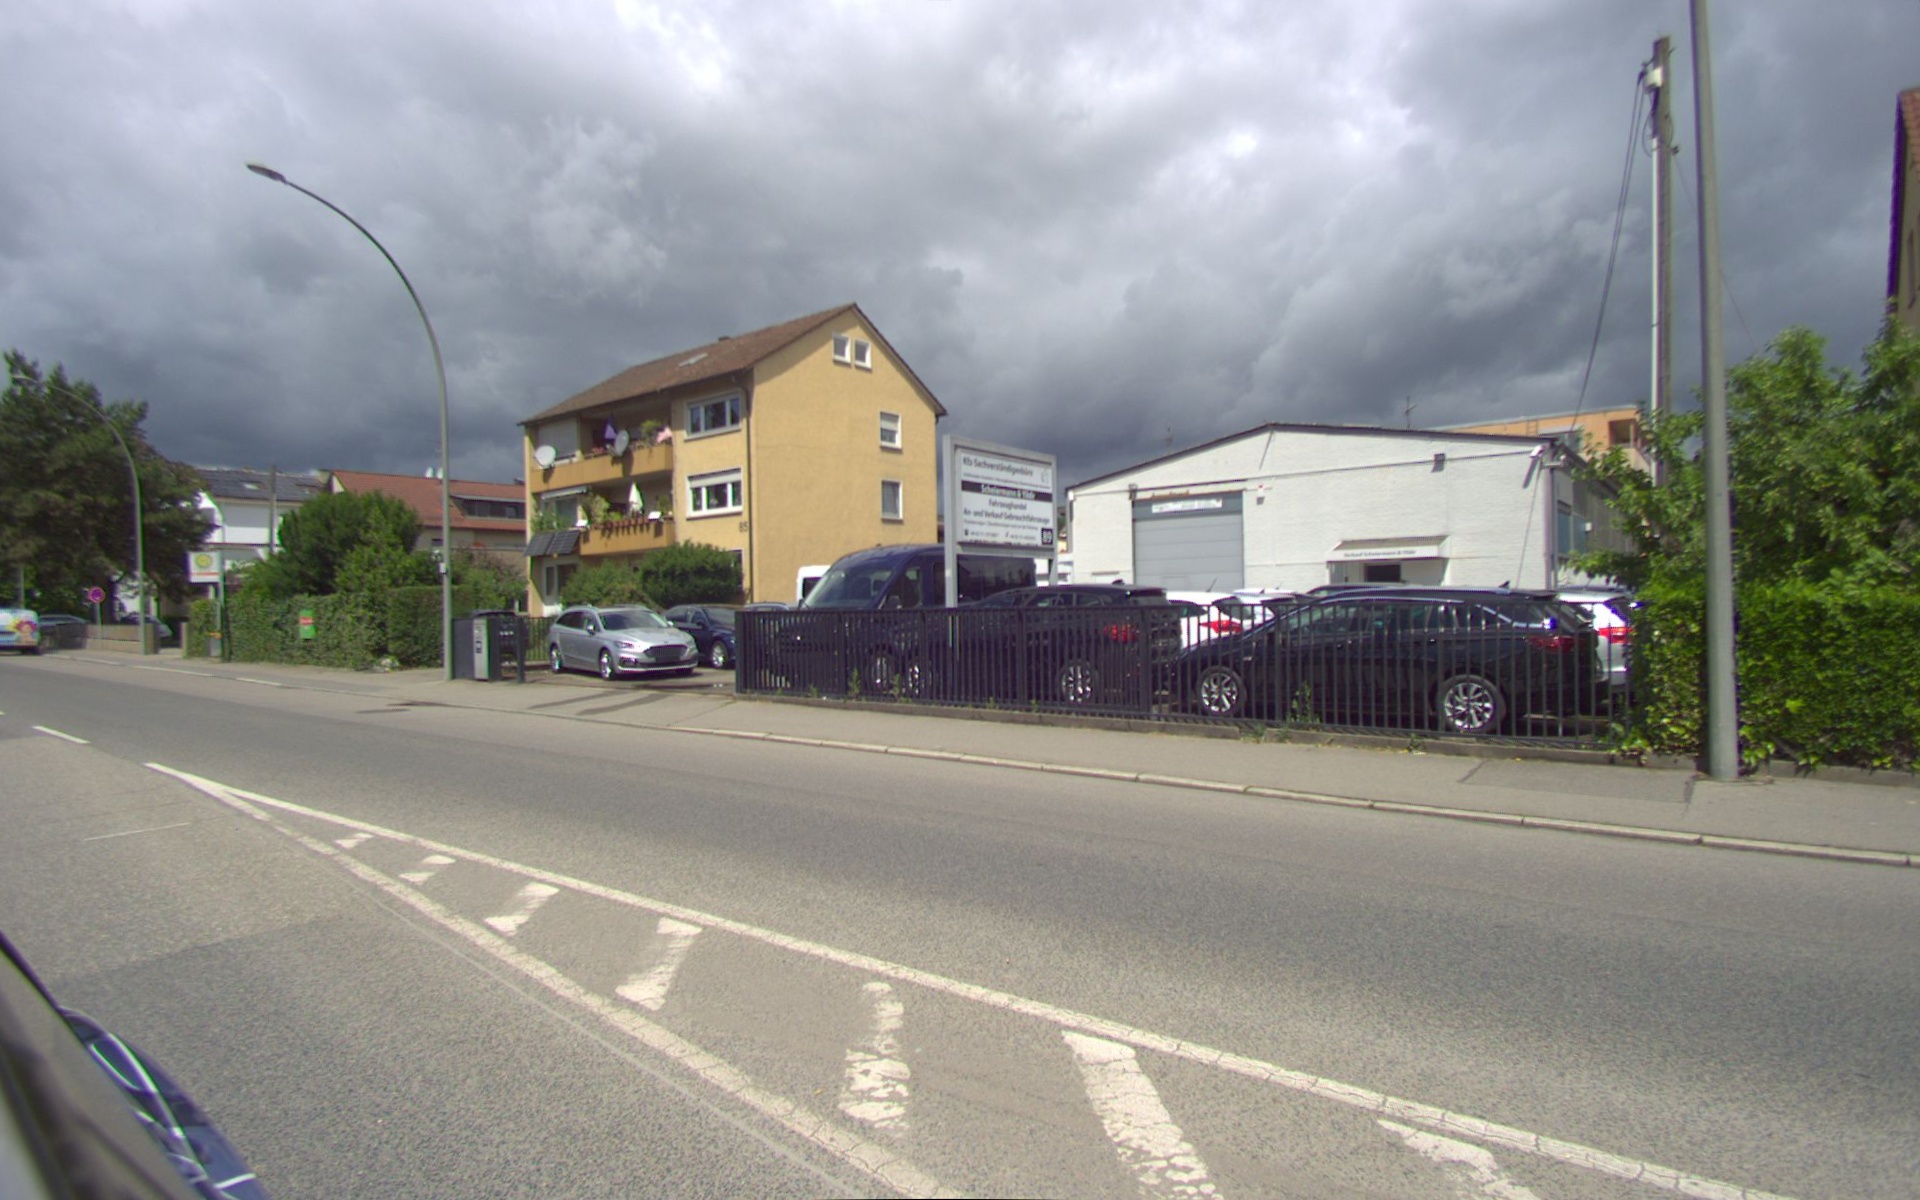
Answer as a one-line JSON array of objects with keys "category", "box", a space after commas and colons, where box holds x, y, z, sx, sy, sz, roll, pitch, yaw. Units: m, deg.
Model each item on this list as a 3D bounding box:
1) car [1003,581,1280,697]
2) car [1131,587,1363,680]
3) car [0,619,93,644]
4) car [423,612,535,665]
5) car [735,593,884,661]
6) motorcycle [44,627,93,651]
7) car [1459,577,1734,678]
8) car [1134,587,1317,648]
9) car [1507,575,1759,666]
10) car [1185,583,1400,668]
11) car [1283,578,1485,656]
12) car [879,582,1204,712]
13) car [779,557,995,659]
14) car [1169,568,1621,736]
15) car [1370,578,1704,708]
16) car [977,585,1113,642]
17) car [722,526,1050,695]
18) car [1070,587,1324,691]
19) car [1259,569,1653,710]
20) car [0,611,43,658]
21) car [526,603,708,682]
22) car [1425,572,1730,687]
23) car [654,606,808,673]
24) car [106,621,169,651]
[{"category": "car", "box": [2.839, 0.583, 16.133, 3.990, 1.630, 1.761, -1, -1, 35]}, {"category": "car", "box": [5.522, 0.618, 19.660, 3.990, 1.630, 1.761, -1, -1, 35]}, {"category": "car", "box": [-60.759, 2.063, 66.878, 1.970, 1.563, 4.960, -1, 0, 38]}, {"category": "car", "box": [-14.397, 1.106, 30.178, 1.823, 1.437, 4.335, 0, -1, -43]}, {"category": "car", "box": [-3.937, 0.671, 25.914, 1.821, 1.589, 4.338, 0, -1, -39]}, {"category": "motorcycle", "box": [-46.809, 2.030, 53.141, 1.845, 1.174, 0.827, 0, -1, -34]}, {"category": "car", "box": [11.301, 0.474, 18.180, 3.990, 1.630, 1.761, -1, -1, 35]}, {"category": "car", "box": [8.052, 0.549, 30.914, 4.998, 1.726, 2.030, -1, -1, 37]}, {"category": "car", "box": [13.215, 0.401, 20.090, 3.990, 1.630, 1.761, -1, -1, 35]}, {"category": "car", "box": [6.996, 0.530, 21.435, 3.990, 1.630, 1.761, -1, -1, 35]}, {"category": "car", "box": [9.661, 0.392, 23.160, 3.990, 1.630, 1.761, -1, -1, 35]}, {"category": "car", "box": [1.096, 0.620, 14.639, 4.277, 1.607, 2.013, -1, -1, 37]}, {"category": "car", "box": [-2.127, 0.288, 27.890, 6.134, 2.514, 2.386, -1, -3, 43]}, {"category": "car", "box": [4.769, 0.516, 11.320, 4.260, 1.518, 2.133, -1, -1, 37]}, {"category": "car", "box": [8.264, 0.578, 14.654, 3.994, 1.630, 1.759, -1, -1, 38]}, {"category": "car", "box": [2.819, 0.450, 34.141, 4.328, 1.805, 1.826, -1, -1, 41]}, {"category": "car", "box": [-1.089, 0.185, 18.217, 2.475, 2.515, 5.977, -1, -1, 39]}, {"category": "car", "box": [4.106, 0.648, 17.784, 3.990, 1.630, 1.761, -1, -1, 35]}, {"category": "car", "box": [6.330, 0.462, 13.086, 4.260, 1.518, 2.134, -1, -1, 37]}, {"category": "car", "box": [-39.582, 1.455, 41.762, 4.891, 1.868, 1.815, -2, -5, 40]}, {"category": "car", "box": [-7.584, 0.853, 21.984, 1.968, 1.497, 5.349, 0, -1, -40]}, {"category": "car", "box": [9.833, 0.448, 16.257, 3.994, 1.630, 1.759, -1, -1, 38]}, {"category": "car", "box": [-5.486, 0.884, 23.879, 1.821, 1.437, 4.338, 0, -1, -39]}, {"category": "car", "box": [-45.738, 1.984, 56.276, 4.079, 1.555, 1.751, -1, -1, 36]}]
